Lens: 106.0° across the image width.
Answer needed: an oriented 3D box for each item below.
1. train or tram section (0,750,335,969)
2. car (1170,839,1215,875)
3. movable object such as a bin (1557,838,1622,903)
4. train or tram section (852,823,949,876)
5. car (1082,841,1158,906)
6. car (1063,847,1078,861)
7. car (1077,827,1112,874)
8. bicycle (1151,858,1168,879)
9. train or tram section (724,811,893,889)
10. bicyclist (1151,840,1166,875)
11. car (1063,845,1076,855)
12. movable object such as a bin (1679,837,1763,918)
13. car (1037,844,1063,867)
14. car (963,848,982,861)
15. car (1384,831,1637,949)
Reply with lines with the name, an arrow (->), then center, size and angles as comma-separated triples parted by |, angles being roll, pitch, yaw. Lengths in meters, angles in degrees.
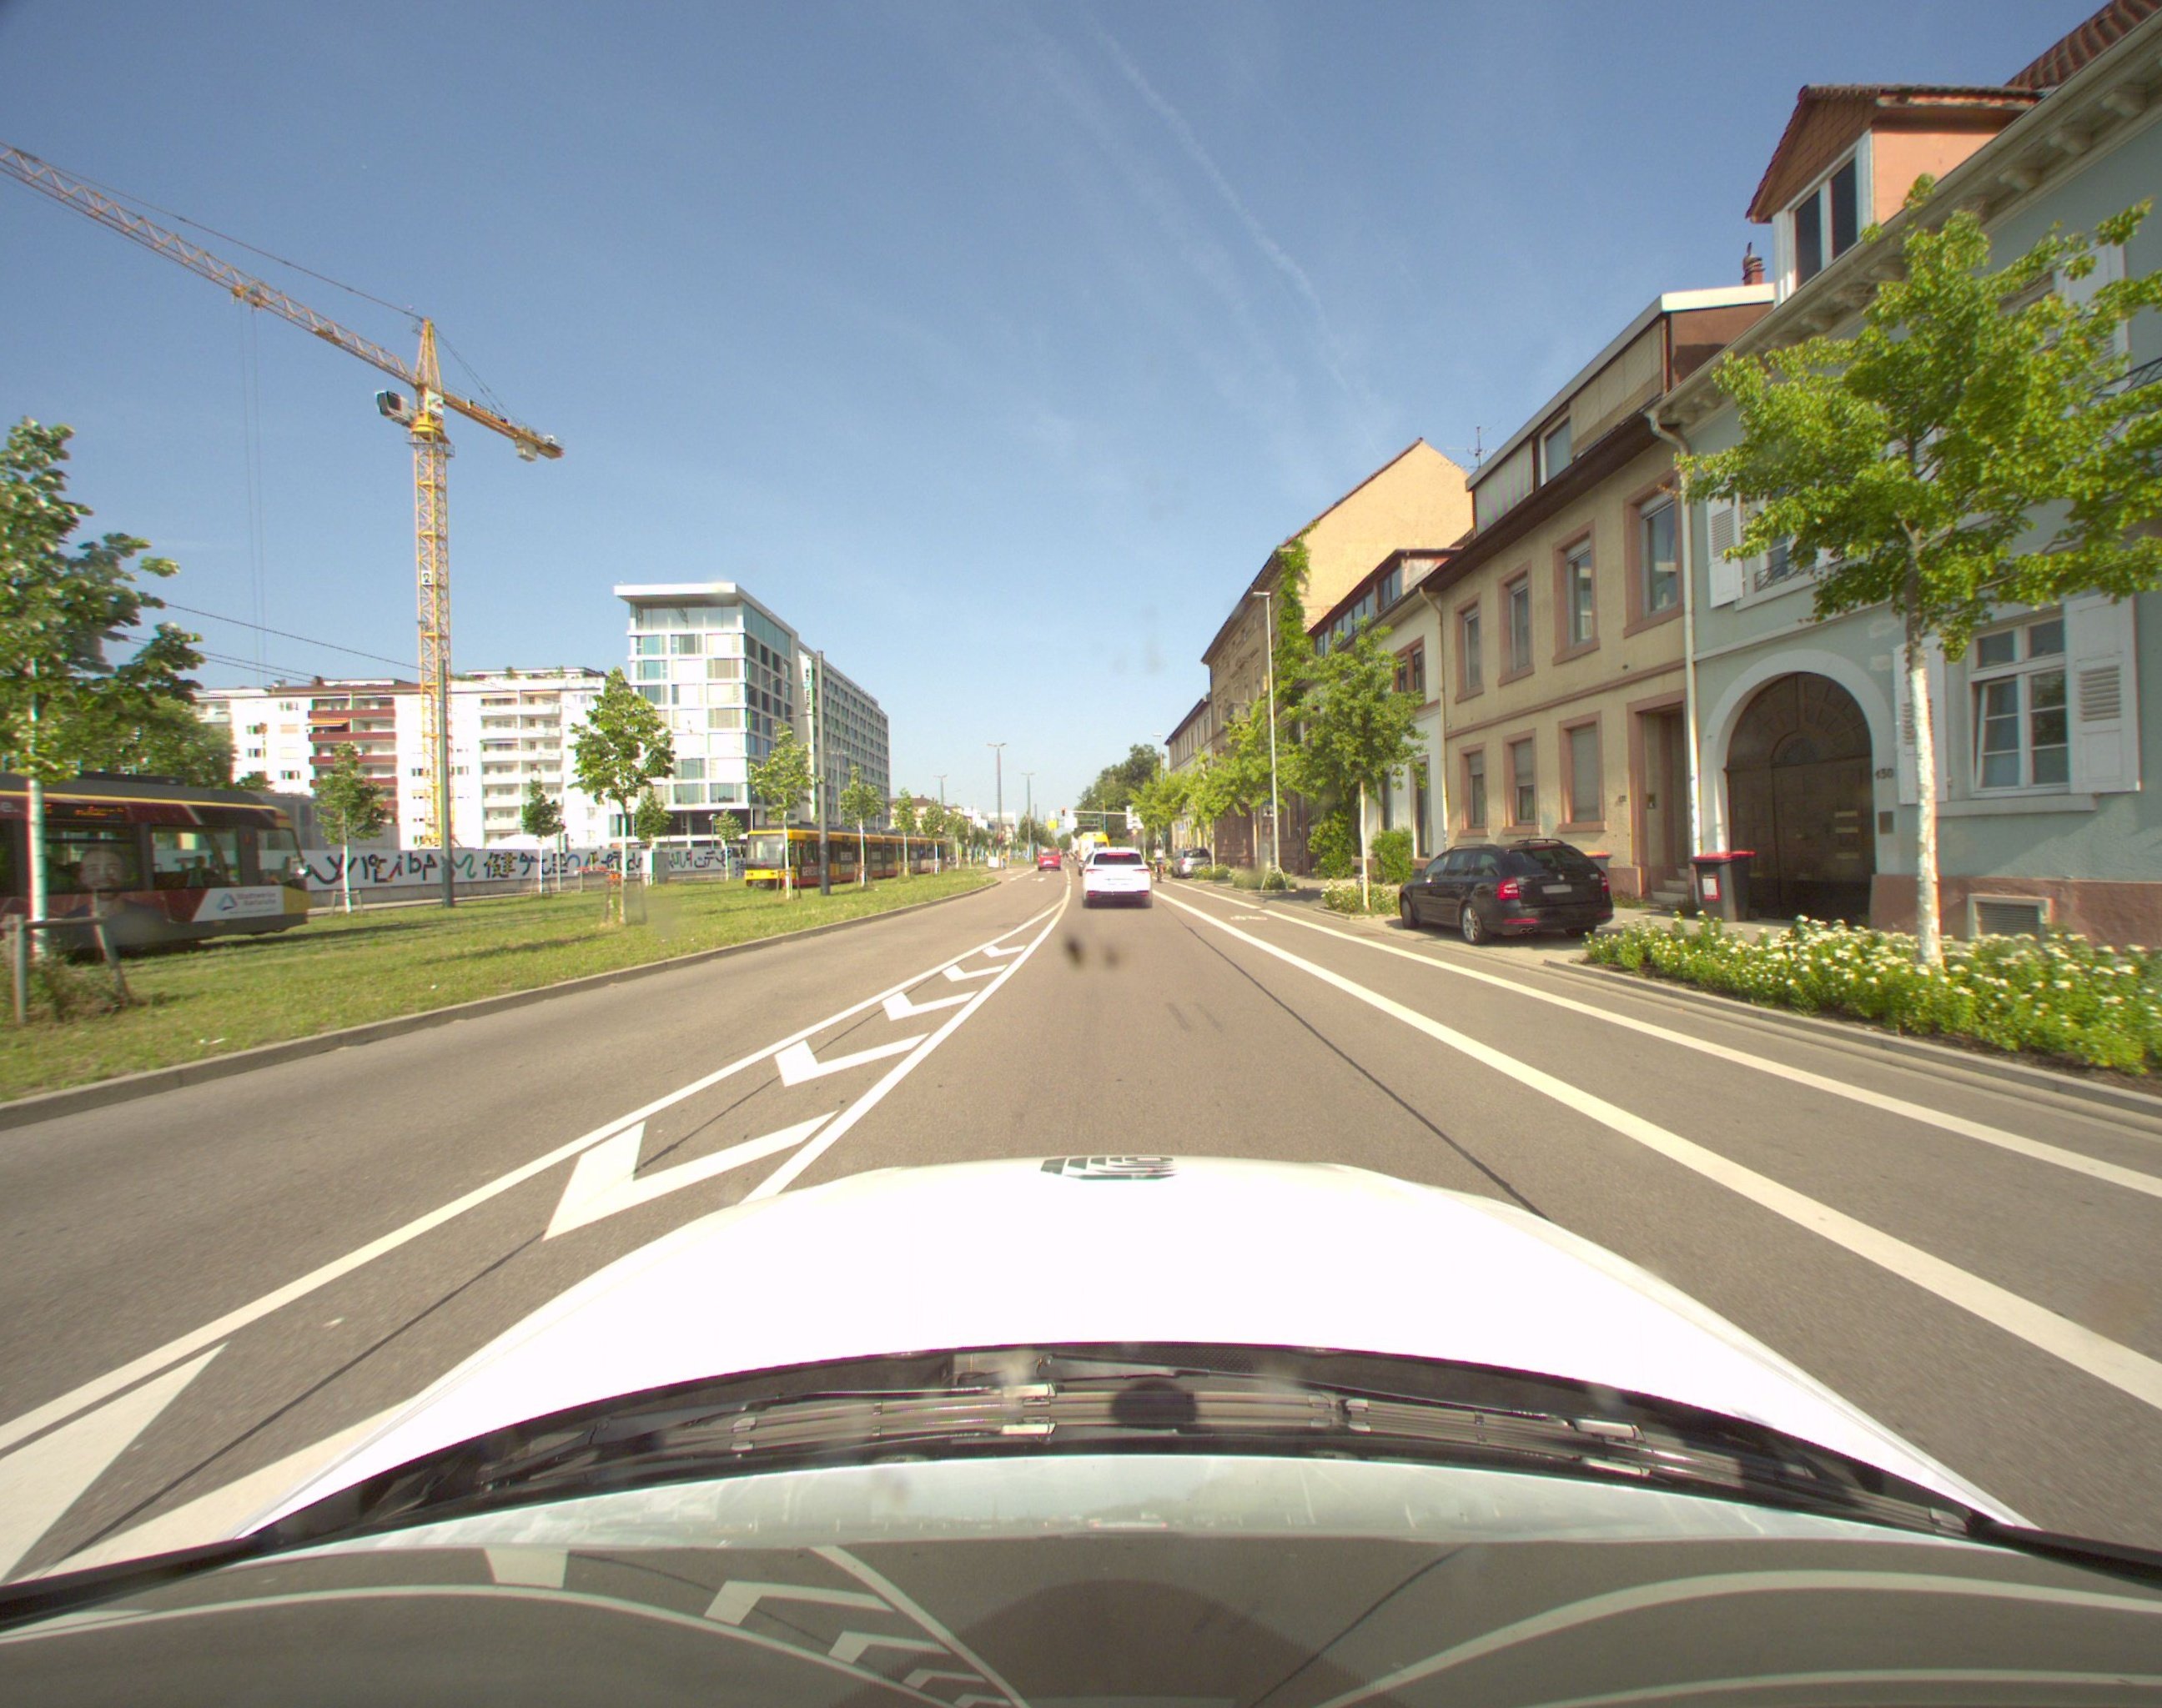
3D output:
train or tram section -> -18.884, 0.137, 12.134 | 2.872, 3.536, 13.608 | -1, 1, 0
car -> 5.893, 0.113, 43.293 | 1.807, 1.812, 3.834 | -1, 1, -1
movable object such as a bin -> 9.709, 0.296, 15.565 | 0.738, 1.200, 0.773 | -1, 1, -2
train or tram section -> -14.004, -0.336, 65.586 | 2.894, 3.707, 18.303 | 0, 0, 3
car -> 0.974, 0.473, 22.353 | 1.864, 1.574, 4.000 | -2, 1, 0
car -> -1.430, -0.056, 110.276 | 1.924, 1.821, 4.000 | -1, 1, 1
car -> 0.820, -0.303, 52.231 | 2.014, 2.795, 5.401 | -2, 2, 0
bicycle -> 3.636, 0.668, 37.809 | 0.653, 0.938, 1.518 | -1, 1, 2
train or tram section -> -14.903, -0.226, 47.371 | 2.894, 3.676, 18.149 | 0, 0, 3
bicyclist -> 3.624, 0.161, 38.009 | 0.636, 1.577, 0.771 | -1, 0, 2
car -> -1.917, -0.742, 133.438 | 1.924, 1.563, 4.000 | -1, 1, 1
movable object such as a bin -> 9.830, 0.341, 12.537 | 0.677, 1.200, 0.781 | -1, 1, -2
car -> -2.609, 0.113, 68.418 | 1.924, 1.821, 4.000 | -1, 1, 1
car -> -14.389, 0.079, 108.320 | 1.809, 1.622, 4.002 | -1, 1, 2
car -> 6.550, 0.477, 13.044 | 1.668, 1.483, 4.311 | -3, 0, -1
